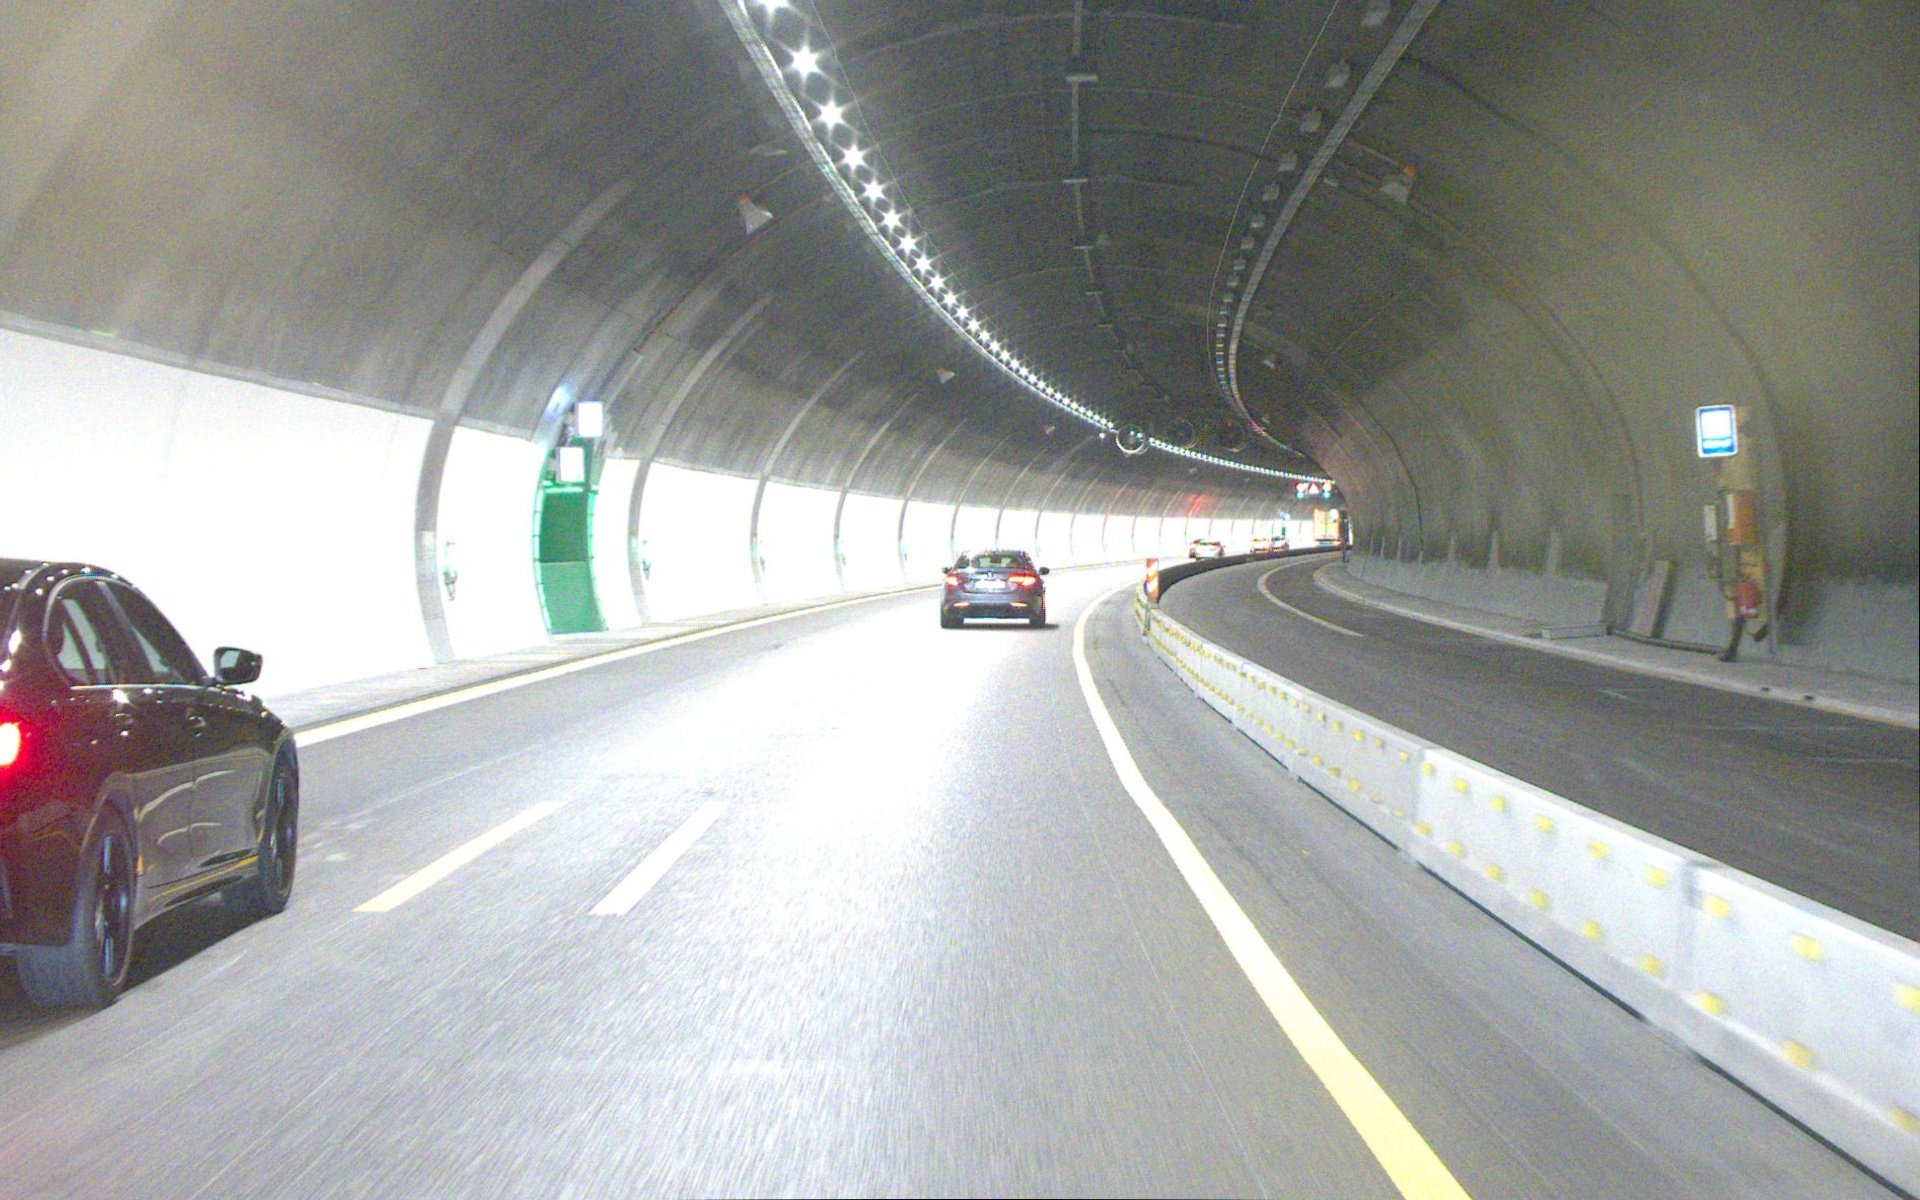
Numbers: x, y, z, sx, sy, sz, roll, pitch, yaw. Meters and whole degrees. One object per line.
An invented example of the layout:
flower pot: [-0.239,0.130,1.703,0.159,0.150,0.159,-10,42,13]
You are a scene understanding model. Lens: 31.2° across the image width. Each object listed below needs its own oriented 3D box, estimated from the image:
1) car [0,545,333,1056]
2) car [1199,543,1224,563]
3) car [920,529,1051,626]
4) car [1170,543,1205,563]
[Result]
car: [-3.547,0.537,12.304,1.778,1.433,4.883,1,1,-1]
car: [16.522,-3.090,225.718,1.595,1.328,3.750,1,1,5]
car: [0.501,-0.444,63.175,2.141,1.700,4.000,0,1,4]
car: [17.001,-3.522,257.148,2.166,1.481,3.998,1,1,10]
